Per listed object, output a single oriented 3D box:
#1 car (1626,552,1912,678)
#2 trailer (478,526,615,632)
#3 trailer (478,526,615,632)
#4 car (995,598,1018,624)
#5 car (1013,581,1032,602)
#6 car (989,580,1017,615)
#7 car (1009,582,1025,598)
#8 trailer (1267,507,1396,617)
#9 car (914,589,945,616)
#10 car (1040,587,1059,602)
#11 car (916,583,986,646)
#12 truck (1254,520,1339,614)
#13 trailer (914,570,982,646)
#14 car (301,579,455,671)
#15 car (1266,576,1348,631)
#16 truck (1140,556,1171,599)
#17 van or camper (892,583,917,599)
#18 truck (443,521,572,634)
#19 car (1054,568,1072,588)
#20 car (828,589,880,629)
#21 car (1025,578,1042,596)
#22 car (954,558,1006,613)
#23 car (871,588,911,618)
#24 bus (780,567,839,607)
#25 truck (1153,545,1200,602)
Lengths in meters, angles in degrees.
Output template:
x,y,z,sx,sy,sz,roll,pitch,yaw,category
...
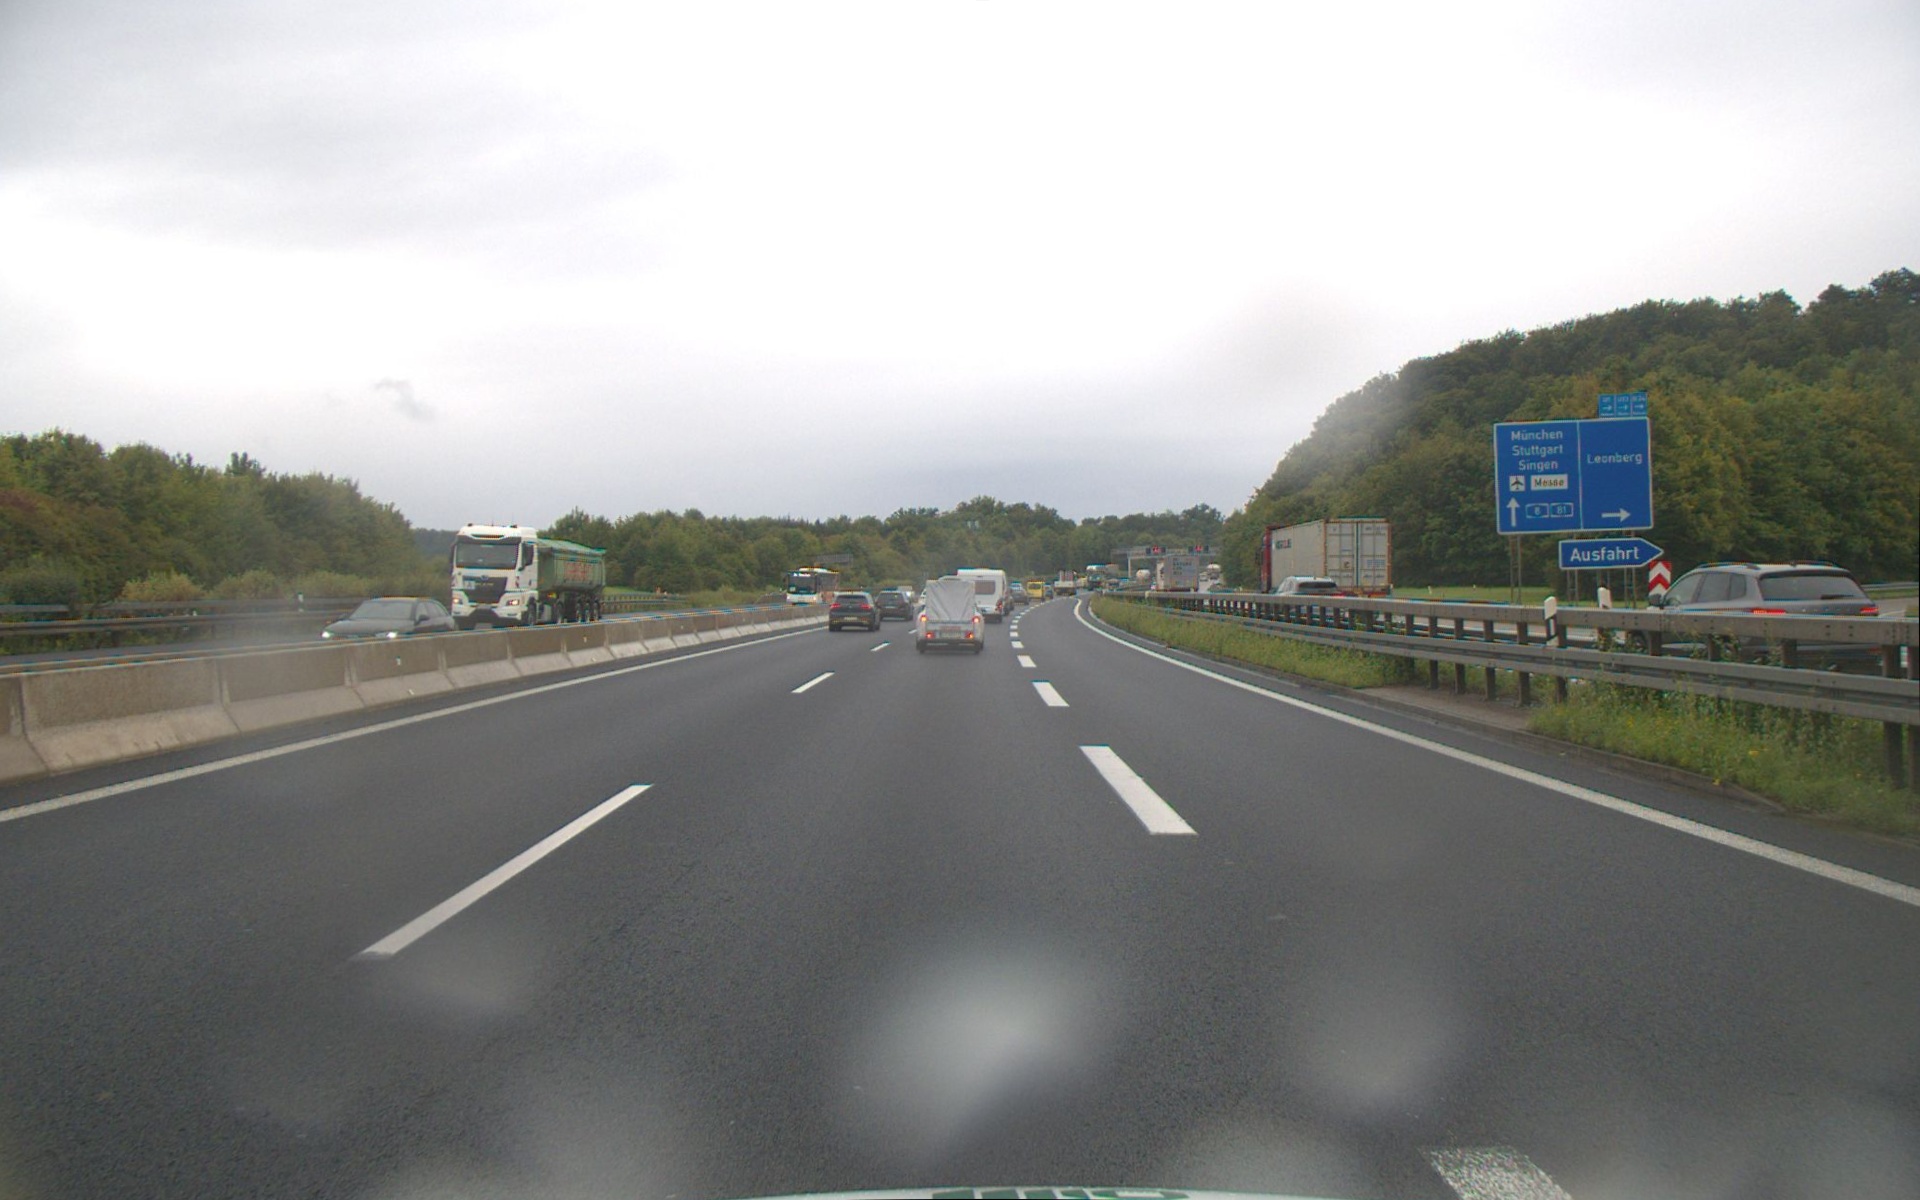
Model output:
x,y,z,sx,sy,sz,roll,pitch,yaw,category
10.293,0.173,21.410,1.633,1.407,4.126,-2,0,0,car
-15.880,-0.758,64.234,2.843,3.814,8.929,0,0,1,trailer
-15.880,-0.758,64.234,2.843,3.814,8.929,0,0,1,trailer
3.340,0.785,119.569,1.641,1.844,4.000,0,0,1,car
5.578,-0.735,148.900,1.641,1.844,4.000,0,0,1,car
2.679,-0.163,101.995,1.641,2.103,4.001,0,0,2,car
7.339,-1.285,213.571,1.952,2.049,4.001,0,0,2,car
14.551,-1.371,65.877,2.550,3.962,12.492,0,0,1,trailer
-1.918,0.156,104.797,1.739,1.669,4.044,0,0,1,car
10.599,-0.646,195.909,1.994,1.712,4.003,0,0,5,car
-0.203,0.386,46.021,1.781,1.644,4.778,0,0,1,car
14.713,-1.384,72.805,2.562,3.952,6.393,0,0,1,truck
-0.269,0.190,42.409,1.641,1.844,4.000,0,0,1,trailer
-12.863,0.527,36.865,1.857,1.908,4.541,0,0,-1,car
10.714,0.100,51.416,1.733,1.638,4.645,0,0,2,car
22.636,-2.501,190.969,3.147,4.748,13.043,0,0,8,truck
-5.620,-0.908,167.329,1.711,1.473,4.589,-2,0,8,van or camper
-16.028,-0.761,59.010,2.827,3.814,5.946,0,0,1,truck
14.253,-3.027,228.674,2.463,2.620,5.314,0,0,3,car
-4.023,0.332,63.102,1.641,1.481,4.001,0,0,1,car
7.856,-1.339,176.289,1.640,1.844,4.002,0,0,4,car
1.028,-0.690,82.790,2.455,2.630,5.701,0,0,2,car
-3.435,0.145,82.856,1.729,1.481,4.001,0,0,1,car
-12.360,-1.027,137.074,2.642,3.009,11.905,-4,0,5,bus
19.106,-2.236,146.721,3.148,4.748,13.038,0,0,3,truck
